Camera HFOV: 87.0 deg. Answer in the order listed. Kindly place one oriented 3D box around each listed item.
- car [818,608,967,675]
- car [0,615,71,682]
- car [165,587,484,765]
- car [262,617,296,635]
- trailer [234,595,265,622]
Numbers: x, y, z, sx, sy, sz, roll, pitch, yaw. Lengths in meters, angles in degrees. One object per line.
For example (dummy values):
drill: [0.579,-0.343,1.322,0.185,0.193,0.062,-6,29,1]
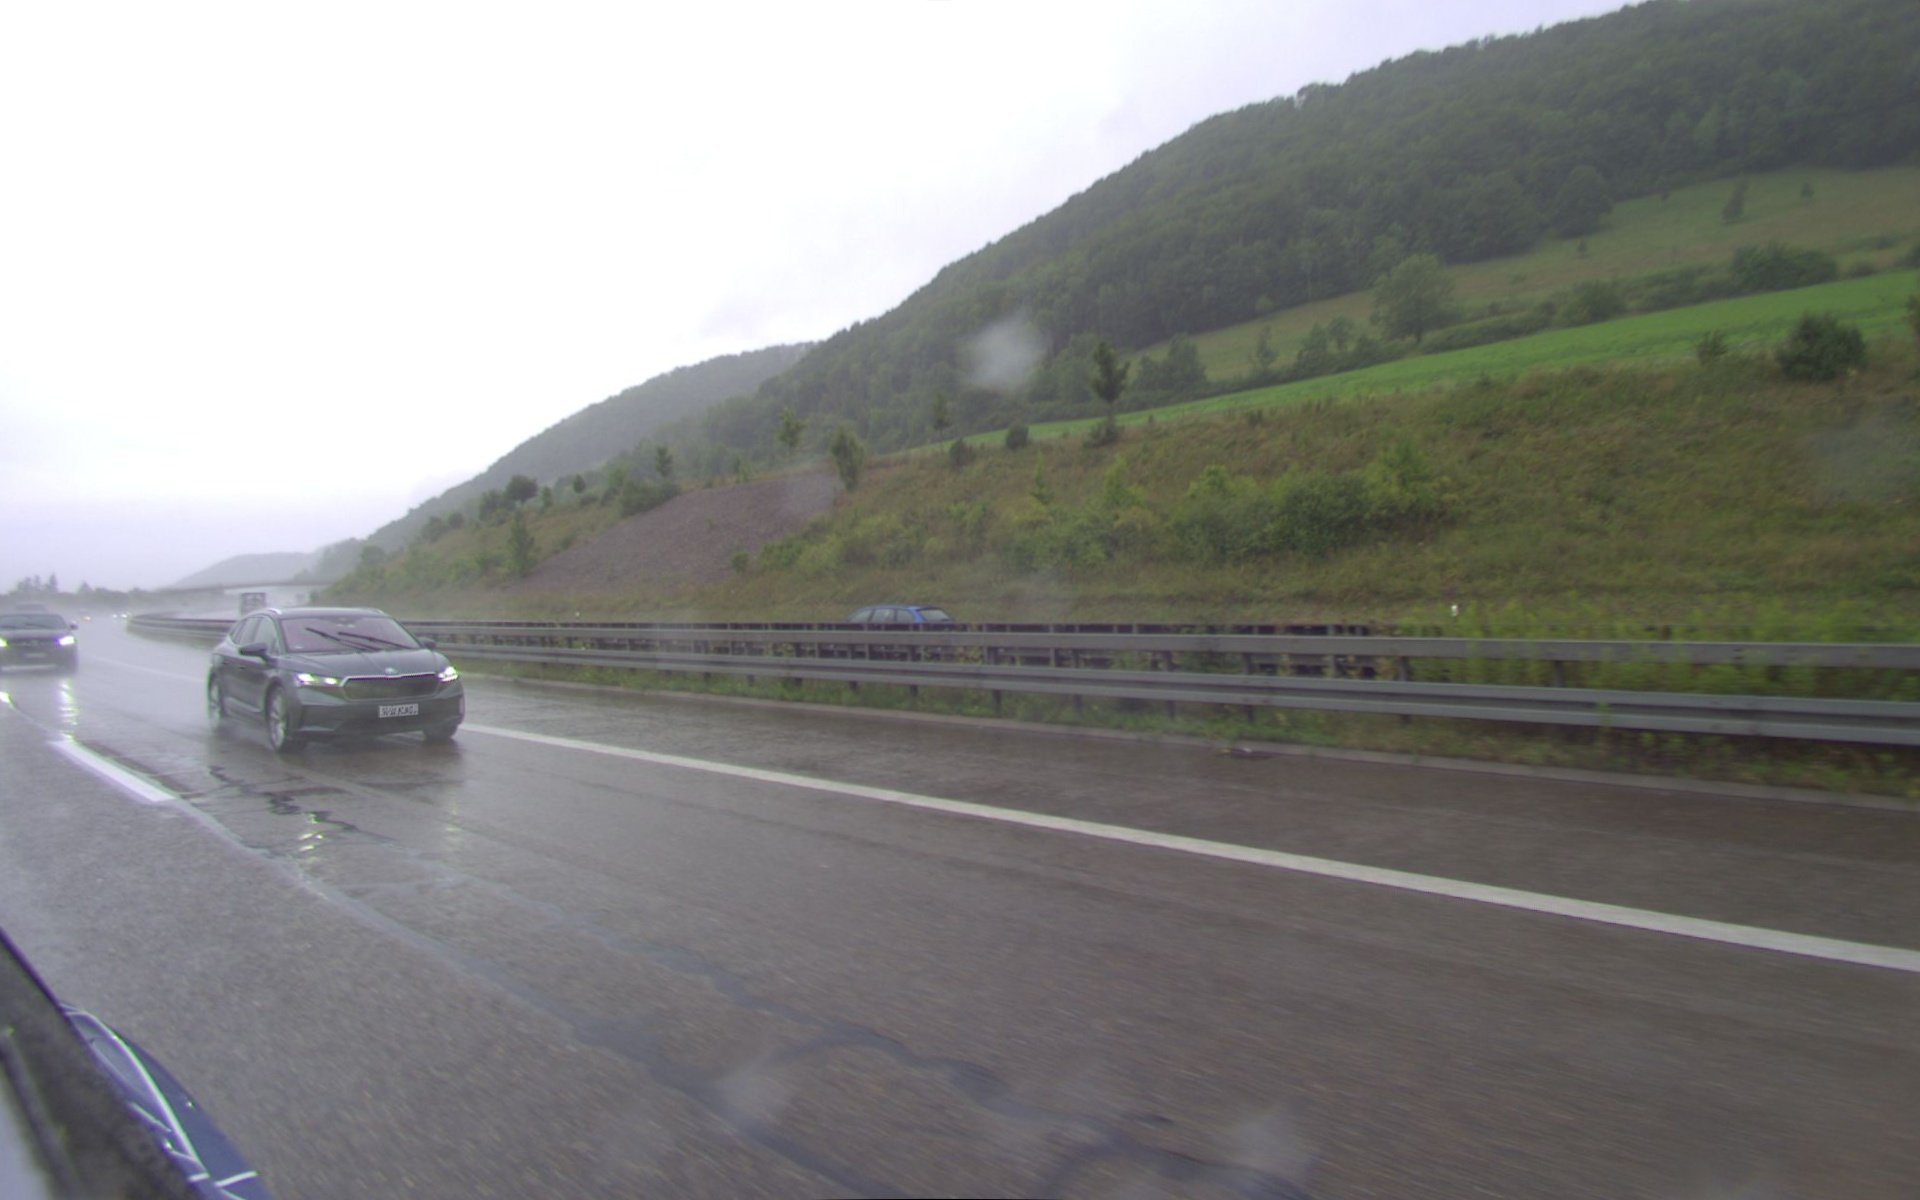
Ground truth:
car: [-1.885,1.082,27.432,3.998,1.660,1.689,-1,0,41]
car: [-26.770,1.349,29.081,1.788,1.715,3.754,-2,1,-42]
car: [-7.877,0.760,12.323,4.908,1.695,1.973,-1,2,42]
car: [-58.353,2.200,86.657,1.773,1.431,3.778,-1,-1,-44]
trailer: [-101.900,1.291,144.985,2.777,3.709,13.271,-1,0,-39]
